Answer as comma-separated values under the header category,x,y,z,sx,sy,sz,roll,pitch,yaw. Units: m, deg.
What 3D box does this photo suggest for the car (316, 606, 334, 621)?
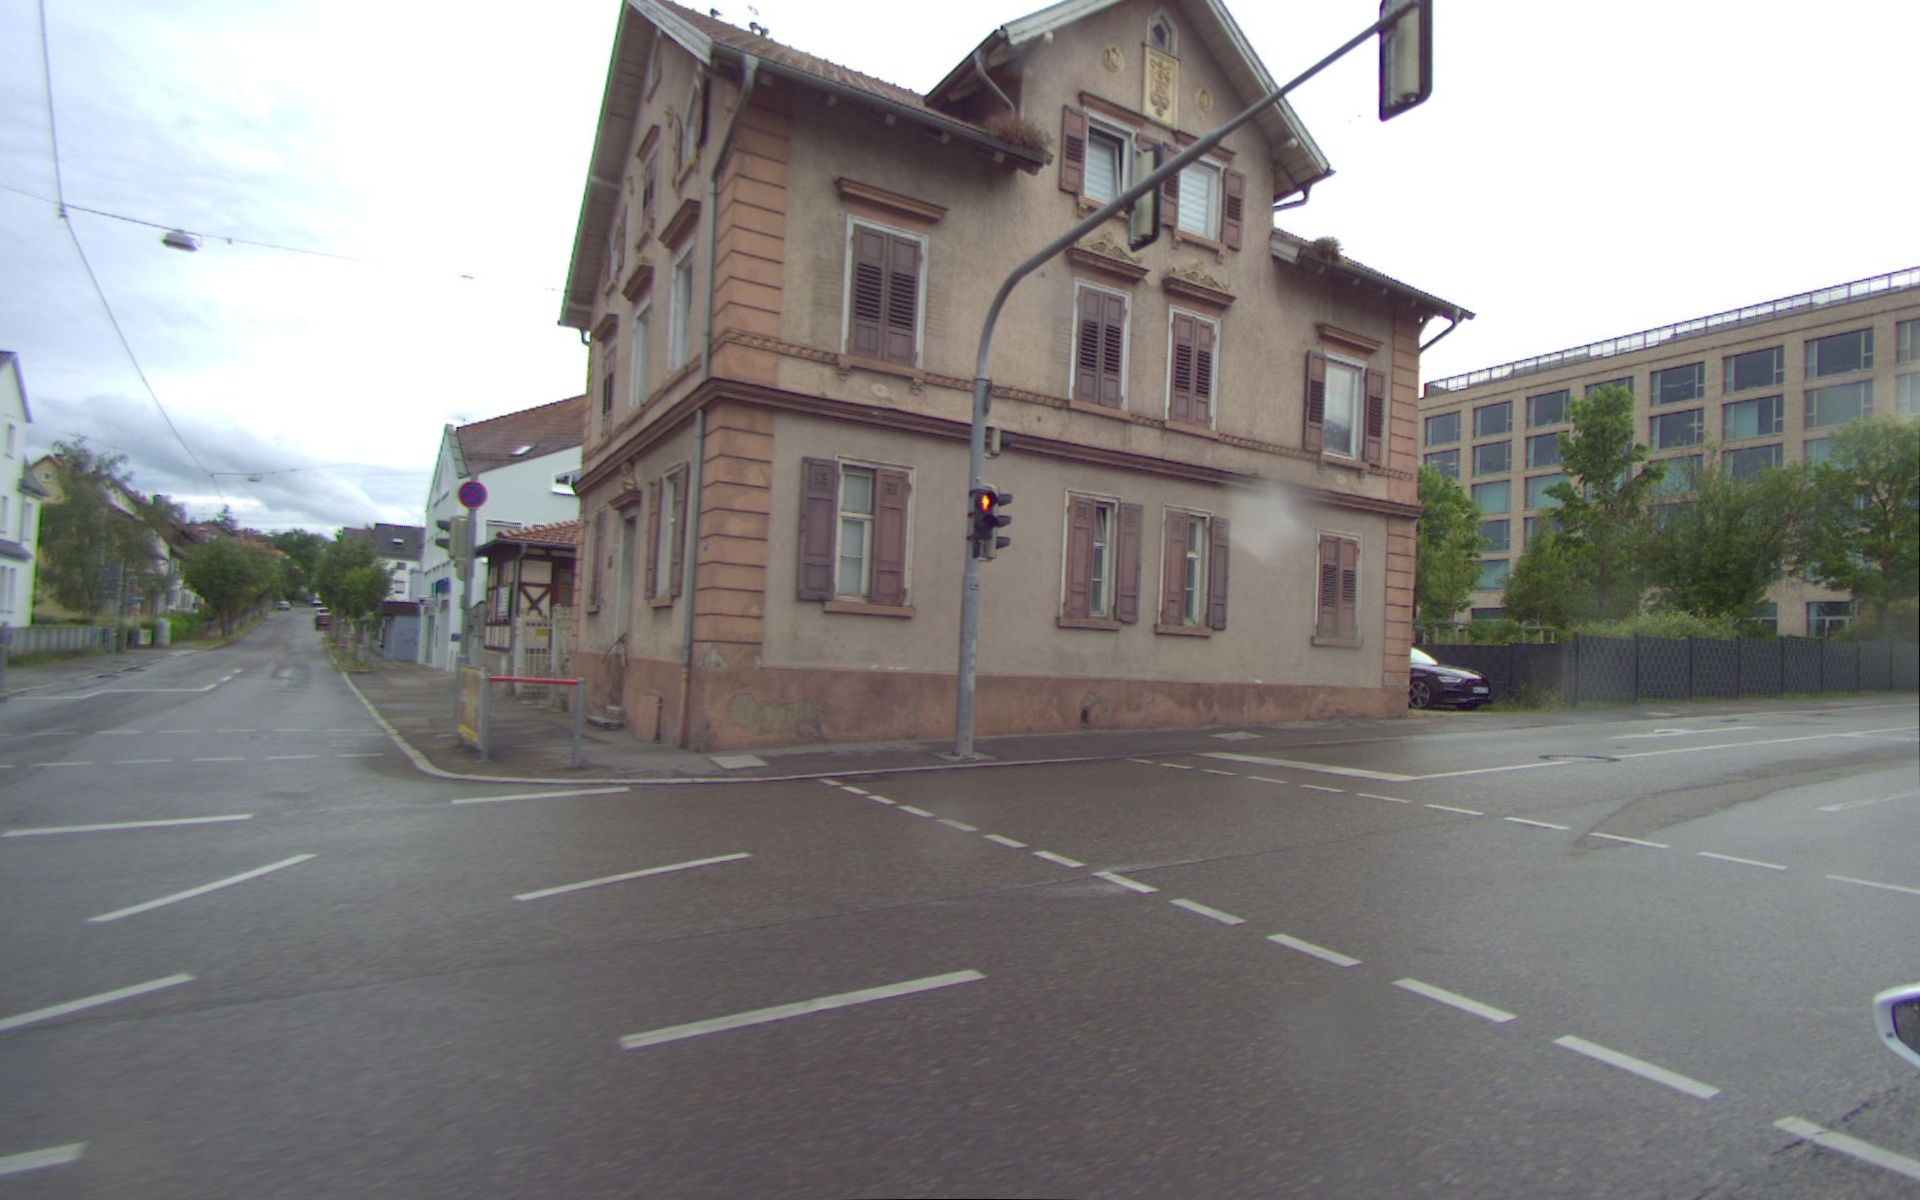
category,x,y,z,sx,sy,sz,roll,pitch,yaw
car,-87.969,1.838,139.090,1.979,2.040,3.963,2,-1,-33

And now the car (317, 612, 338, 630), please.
category,x,y,z,sx,sy,sz,roll,pitch,yaw
car,-76.126,2.483,120.913,1.979,2.040,3.963,2,-1,-33

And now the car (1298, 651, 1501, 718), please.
category,x,y,z,sx,sy,sz,roll,pitch,yaw
car,9.770,1.833,22.615,1.590,1.178,3.963,3,-1,-34
